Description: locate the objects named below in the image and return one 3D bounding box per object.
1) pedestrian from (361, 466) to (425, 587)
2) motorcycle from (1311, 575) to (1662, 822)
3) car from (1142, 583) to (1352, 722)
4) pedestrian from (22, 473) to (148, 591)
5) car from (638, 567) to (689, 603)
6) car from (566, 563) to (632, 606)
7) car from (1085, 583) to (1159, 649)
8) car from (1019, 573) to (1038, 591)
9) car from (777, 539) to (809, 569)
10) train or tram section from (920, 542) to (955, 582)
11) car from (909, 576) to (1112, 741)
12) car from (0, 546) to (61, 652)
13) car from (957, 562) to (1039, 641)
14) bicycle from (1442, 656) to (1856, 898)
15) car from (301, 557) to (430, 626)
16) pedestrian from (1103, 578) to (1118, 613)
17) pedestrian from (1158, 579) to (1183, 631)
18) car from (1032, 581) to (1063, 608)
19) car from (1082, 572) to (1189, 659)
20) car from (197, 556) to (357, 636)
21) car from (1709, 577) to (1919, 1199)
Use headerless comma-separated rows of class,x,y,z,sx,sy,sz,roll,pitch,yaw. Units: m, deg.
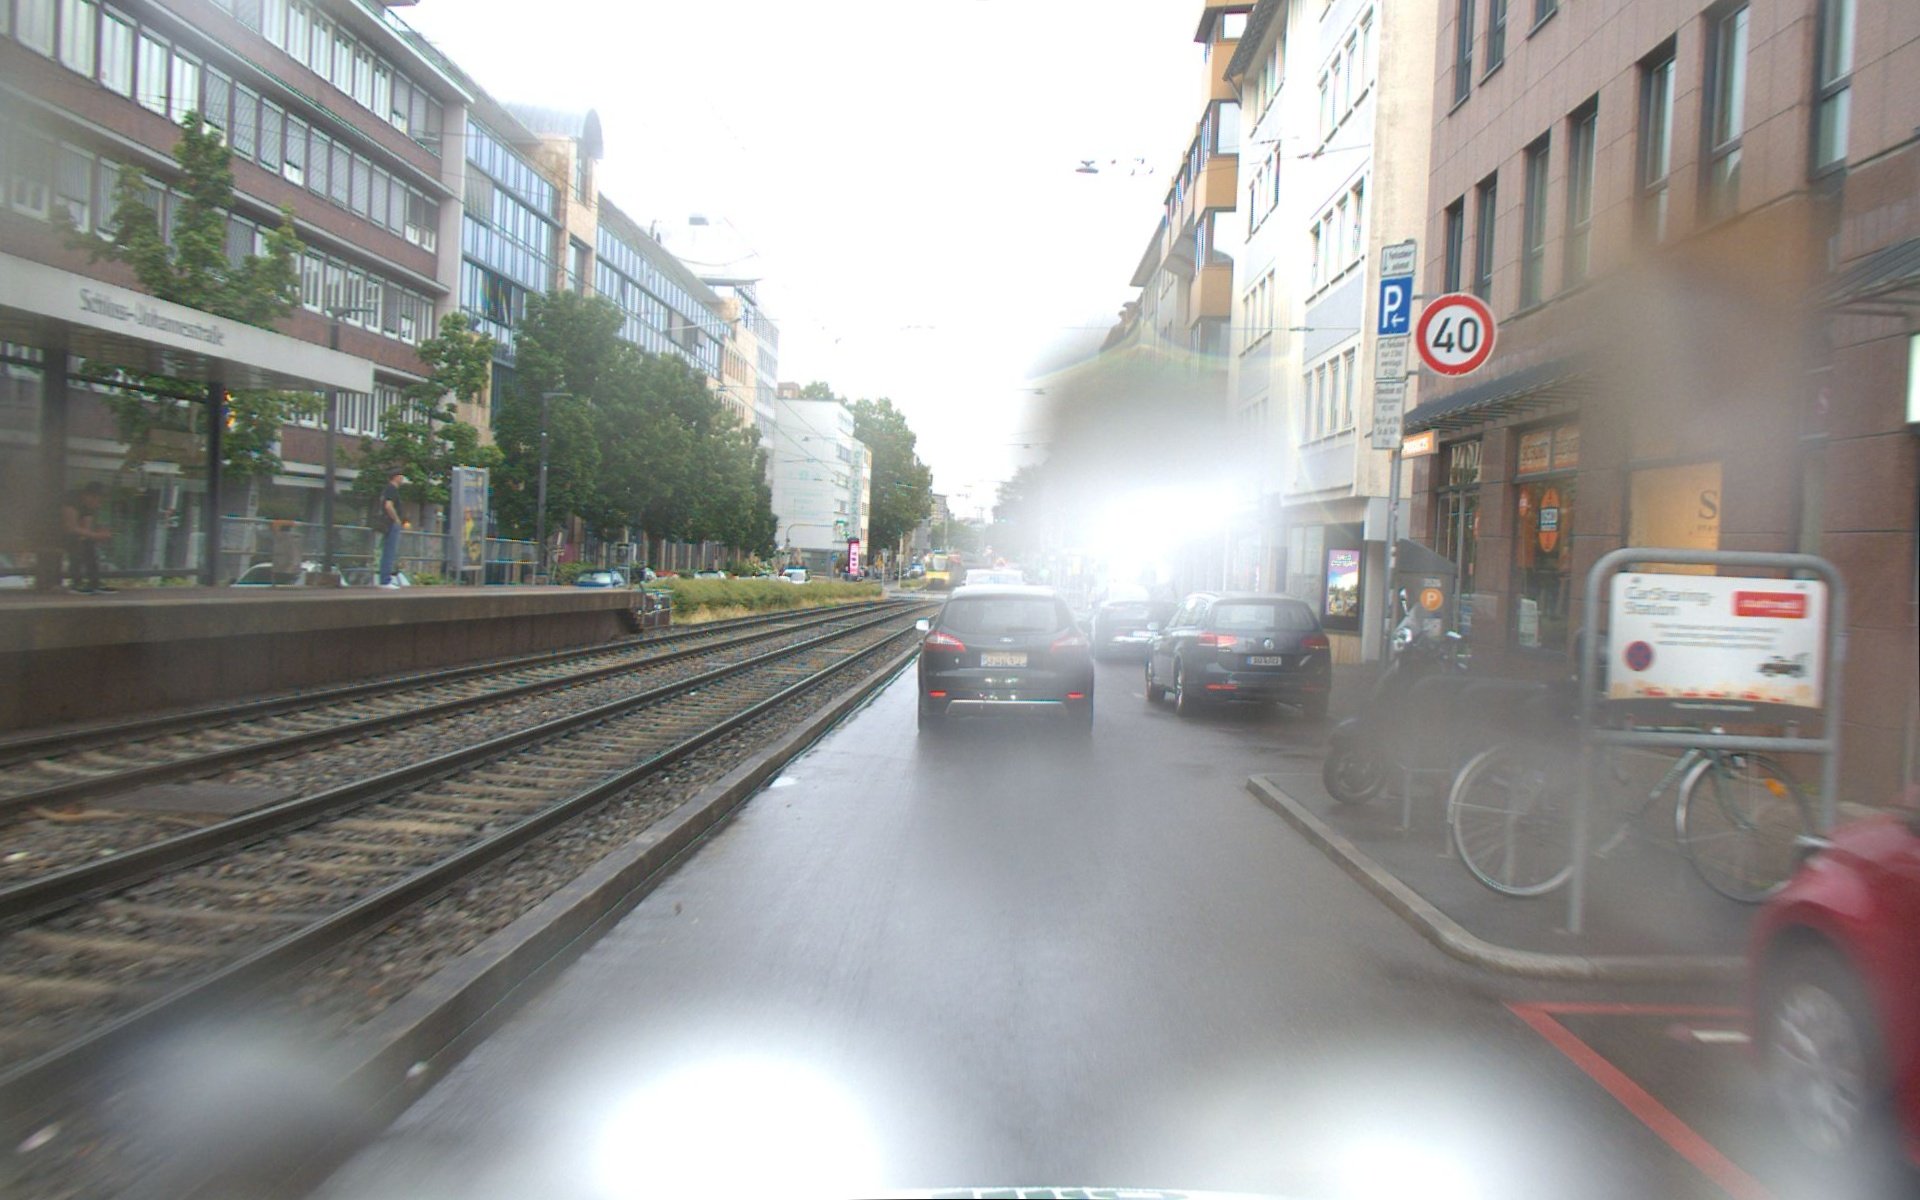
pedestrian,-8.806,-1.127,25.705,0.642,1.833,0.850,2,0,-1
motorcycle,3.364,0.591,10.638,2.041,1.432,0.799,2,0,20
car,3.464,0.565,20.800,1.738,1.494,4.608,2,0,-1
pedestrian,-8.934,-0.678,16.916,0.875,1.143,0.848,2,0,-9
car,-12.842,-0.641,71.815,1.536,1.461,4.176,2,0,-2
car,-13.126,-0.574,60.323,1.536,1.461,4.176,2,0,-2
car,3.906,0.359,40.252,1.525,1.502,3.566,2,0,2
car,6.978,-1.845,169.025,1.867,1.662,4.575,2,0,2
car,-11.762,-3.210,116.535,1.868,1.897,4.572,2,0,-2
train or tram section,-2.405,-3.933,174.290,3.442,3.843,11.329,2,0,-1
car,0.532,0.557,17.396,1.867,1.487,3.445,2,0,2
car,-13.977,-0.029,22.463,1.536,1.461,3.735,2,0,-2
car,1.054,0.050,43.385,1.866,1.897,4.576,2,0,4
bicycle,3.240,0.821,7.843,1.750,1.049,0.462,2,0,0
car,-13.668,-0.201,38.253,1.536,1.461,4.176,2,0,-2
pedestrian,6.889,-0.203,75.677,0.598,1.564,0.649,2,0,0
pedestrian,7.055,0.162,55.455,0.681,1.680,0.966,2,0,0
car,5.616,-0.334,106.954,1.867,1.662,4.575,2,0,2
car,3.674,0.292,35.440,1.770,1.660,5.170,2,0,1
car,-13.674,-0.090,33.349,1.536,1.461,4.237,2,0,-2
car,3.059,0.689,3.036,1.663,1.488,3.867,0,0,1
